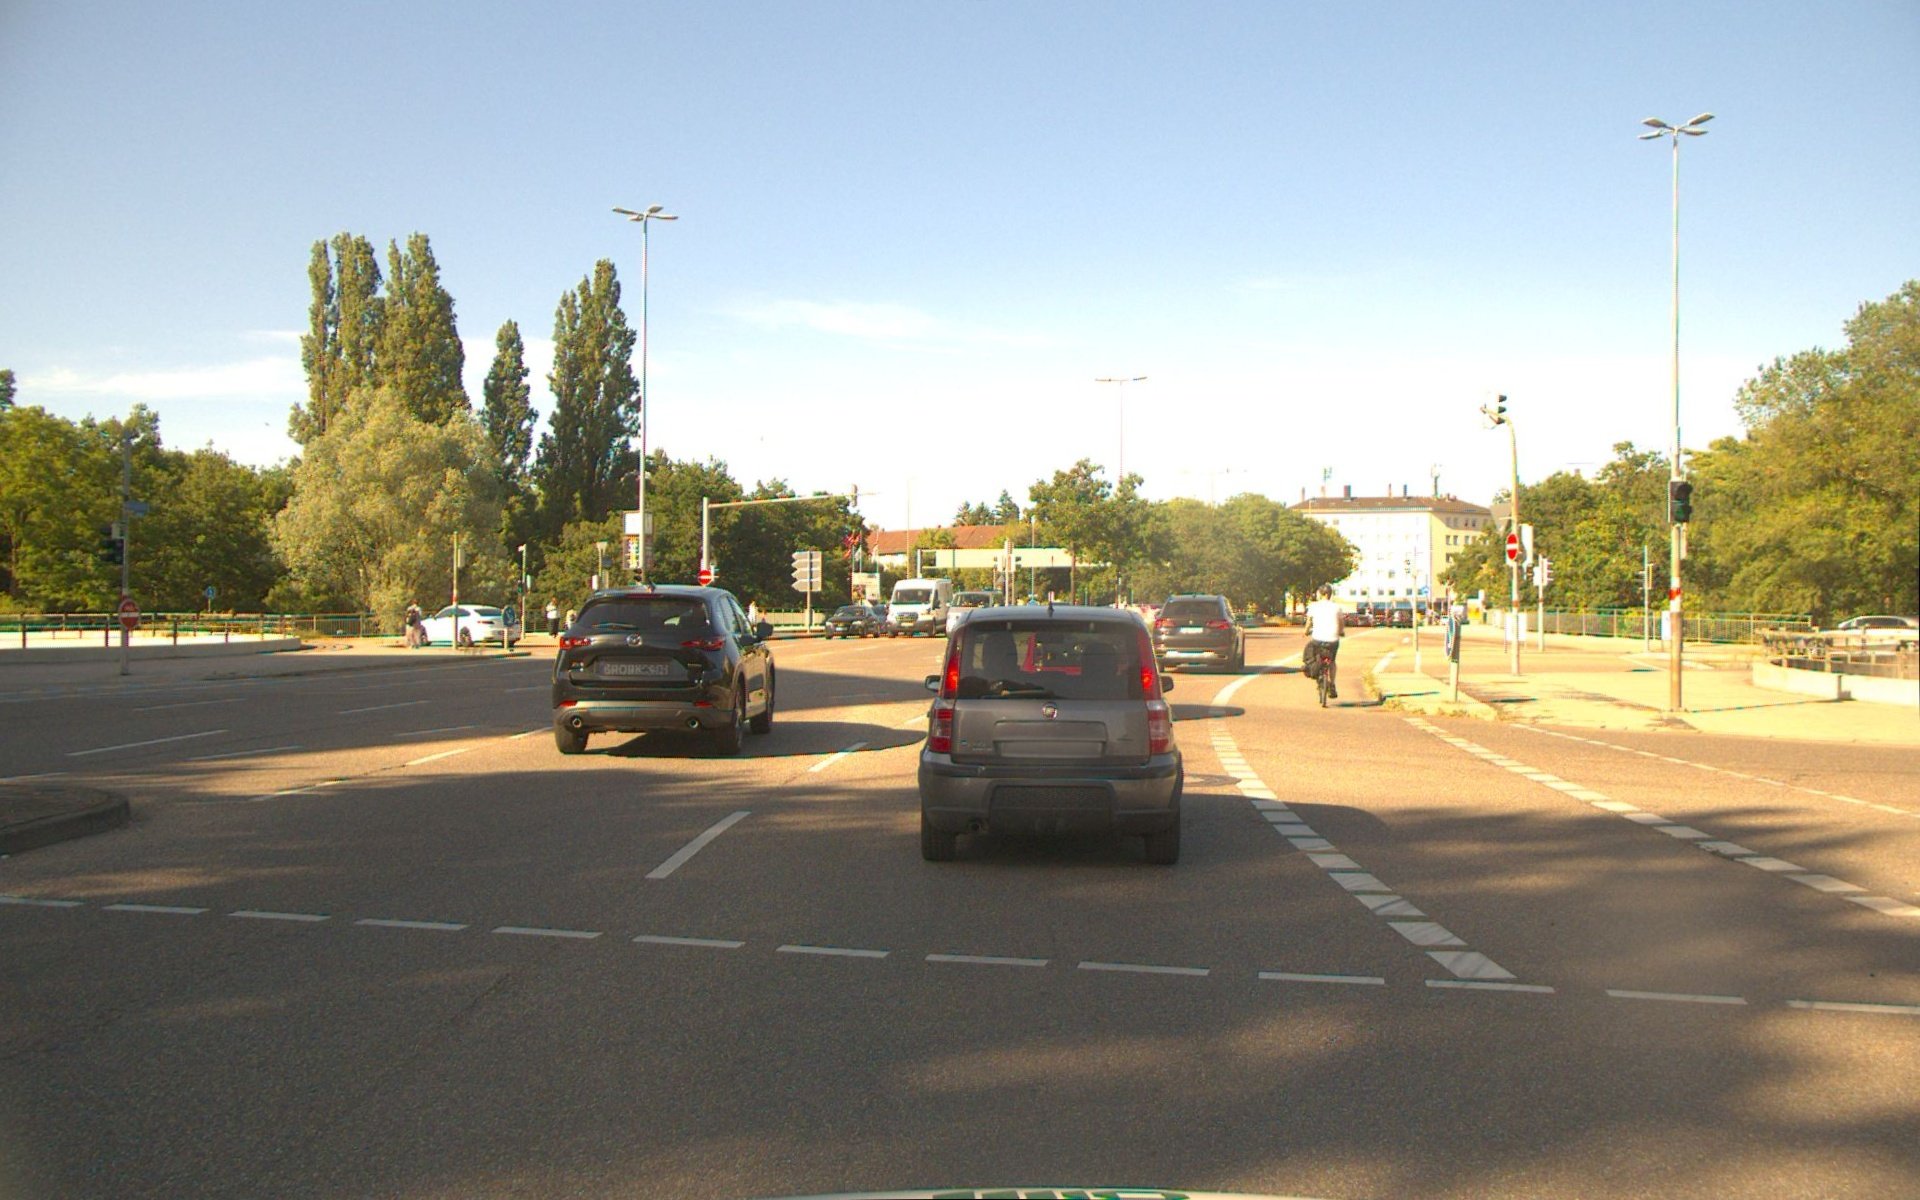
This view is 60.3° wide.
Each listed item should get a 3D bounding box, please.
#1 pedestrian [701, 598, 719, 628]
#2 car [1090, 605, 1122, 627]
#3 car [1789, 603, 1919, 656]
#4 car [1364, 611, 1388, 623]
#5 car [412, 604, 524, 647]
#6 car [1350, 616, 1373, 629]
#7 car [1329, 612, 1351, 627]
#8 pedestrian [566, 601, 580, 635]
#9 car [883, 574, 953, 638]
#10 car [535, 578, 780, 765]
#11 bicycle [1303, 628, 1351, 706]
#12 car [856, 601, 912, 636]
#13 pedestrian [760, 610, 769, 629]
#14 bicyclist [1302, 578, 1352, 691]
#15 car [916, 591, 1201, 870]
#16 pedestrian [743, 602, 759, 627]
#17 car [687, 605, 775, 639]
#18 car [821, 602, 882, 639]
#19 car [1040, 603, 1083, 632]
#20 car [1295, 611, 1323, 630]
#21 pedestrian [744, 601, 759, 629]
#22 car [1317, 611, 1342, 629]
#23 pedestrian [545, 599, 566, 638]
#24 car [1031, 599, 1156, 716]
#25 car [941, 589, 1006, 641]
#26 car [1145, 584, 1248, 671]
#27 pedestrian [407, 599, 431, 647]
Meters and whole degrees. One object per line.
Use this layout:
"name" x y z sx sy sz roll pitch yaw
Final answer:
"pedestrian" -14.419 0.730 95.411 0.773 1.693 0.630 1 -2 21
"car" 10.986 1.182 124.245 1.895 1.651 4.509 0 0 11
"car" 28.620 0.899 52.092 4.173 1.579 1.848 0 0 45
"car" 54.286 2.229 215.712 1.910 1.555 4.087 0 0 31
"car" -16.989 0.860 57.055 4.242 1.440 1.775 0 0 42
"car" 49.199 2.692 202.421 1.907 1.555 4.093 0 0 26
"car" 38.843 2.001 169.010 1.904 1.555 4.099 0 0 18
"pedestrian" -18.307 0.839 78.225 0.549 1.575 0.571 0 -2 -26
"car" -1.735 0.263 70.984 1.895 2.621 6.094 0 0 10
"car" -3.051 0.676 17.551 1.836 1.739 4.196 0 0 0
"bicycle" 5.635 1.013 25.441 0.676 1.121 1.827 1 0 12
"car" -3.581 0.836 78.489 1.772 1.568 4.620 -1 0 8
"pedestrian" -11.890 1.181 100.542 0.414 1.156 0.398 1 -2 14
"bicyclist" 5.646 0.523 25.470 0.708 1.688 1.114 1 0 12
"car" 0.679 0.737 11.237 1.583 1.542 3.821 1 0 4
"pedestrian" -13.094 0.928 103.700 0.658 1.529 0.778 0 -3 29
"car" -11.321 1.068 81.936 1.750 1.562 4.309 1 1 38
"car" -4.653 0.859 71.503 1.895 1.534 4.003 -1 0 7
"car" 5.903 0.989 95.749 1.895 1.651 4.509 0 0 11
"car" 28.950 1.696 137.056 1.904 1.555 4.099 0 0 17
"pedestrian" -12.695 0.886 100.671 0.705 1.670 0.673 1 -2 14
"car" 33.861 1.815 151.477 1.904 1.555 4.099 0 0 18
"pedestrian" -16.454 0.756 67.341 0.701 1.575 0.722 0 -1 -26
"car" 1.953 0.759 23.368 1.583 1.488 3.753 1 0 7
"car" 0.611 0.602 67.832 1.895 2.043 4.935 0 0 10
"car" 5.551 0.633 38.400 1.904 1.872 4.156 1 -1 14
"pedestrian" -17.044 0.721 52.112 0.668 1.489 0.700 0 -1 -17
